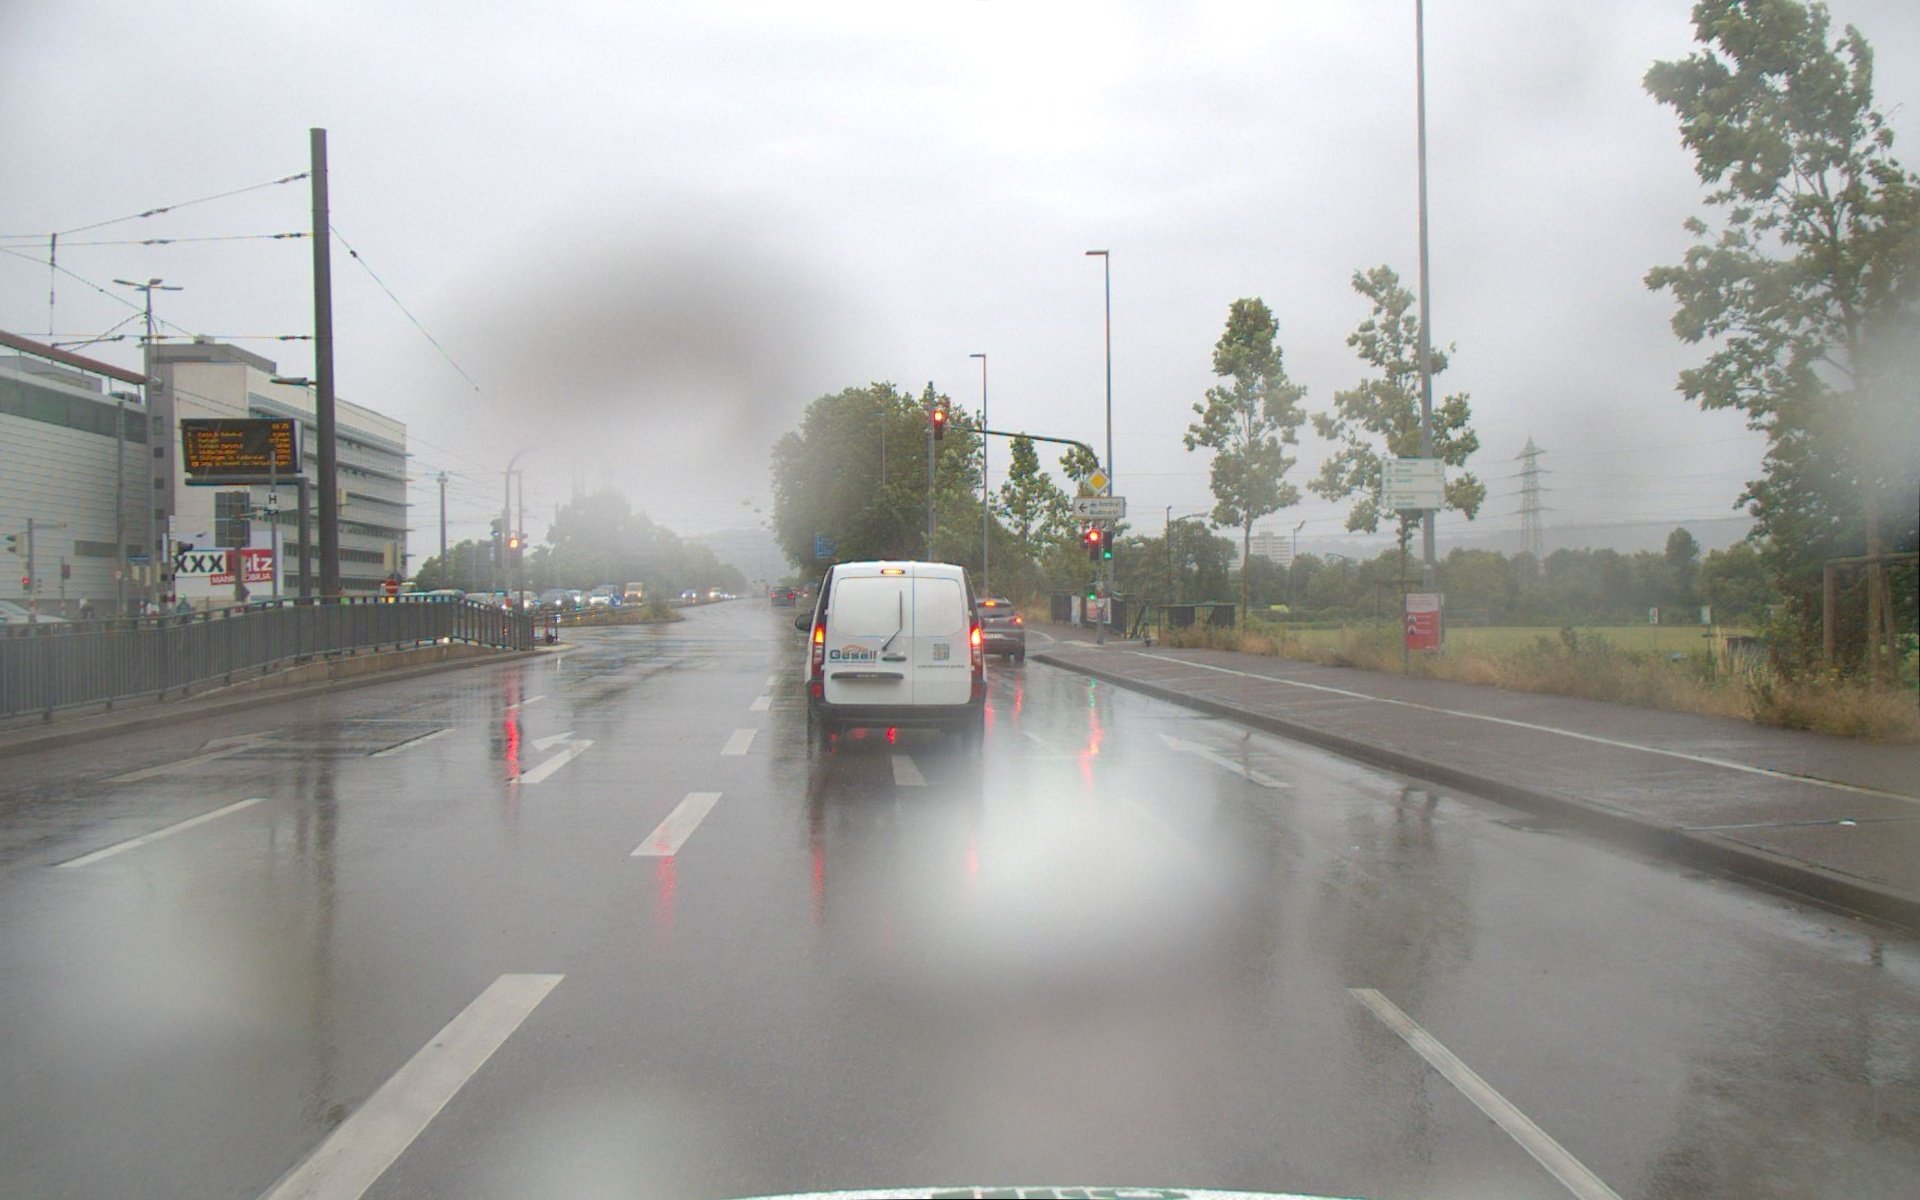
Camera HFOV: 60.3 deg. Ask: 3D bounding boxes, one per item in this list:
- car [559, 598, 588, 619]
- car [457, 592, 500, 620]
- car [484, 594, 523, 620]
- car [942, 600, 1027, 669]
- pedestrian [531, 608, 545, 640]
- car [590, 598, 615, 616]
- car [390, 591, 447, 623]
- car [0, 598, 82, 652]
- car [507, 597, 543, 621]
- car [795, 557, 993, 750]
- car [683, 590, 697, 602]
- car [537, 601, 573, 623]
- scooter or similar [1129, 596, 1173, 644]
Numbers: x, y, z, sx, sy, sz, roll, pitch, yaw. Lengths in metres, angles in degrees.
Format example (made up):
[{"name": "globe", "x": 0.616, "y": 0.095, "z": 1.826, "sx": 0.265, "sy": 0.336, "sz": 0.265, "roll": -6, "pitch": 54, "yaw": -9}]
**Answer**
[{"name": "car", "x": -28.997, "y": 0.657, "z": 124.181, "sx": 1.529, "sy": 1.451, "sz": 3.565, "roll": 2, "pitch": -1, "yaw": -4}, {"name": "car", "x": -27.010, "y": 0.339, "z": 92.787, "sx": 1.529, "sy": 1.451, "sz": 3.565, "roll": 2, "pitch": -1, "yaw": -4}, {"name": "car", "x": -27.551, "y": 0.440, "z": 99.841, "sx": 1.529, "sy": 1.451, "sz": 3.565, "roll": 2, "pitch": -1, "yaw": -4}, {"name": "car", "x": 0.538, "y": 0.799, "z": 39.593, "sx": 1.651, "sy": 1.534, "sz": 3.916, "roll": 1, "pitch": 0, "yaw": -5}, {"name": "pedestrian", "x": -12.487, "y": 0.710, "z": 48.949, "sx": 0.309, "sy": 0.913, "sz": 0.380, "roll": 2, "pitch": 0, "yaw": -6}, {"name": "car", "x": -30.589, "y": 0.633, "z": 141.498, "sx": 1.529, "sy": 1.451, "sz": 3.565, "roll": 2, "pitch": -1, "yaw": -4}, {"name": "car", "x": -26.068, "y": 0.357, "z": 79.690, "sx": 1.677, "sy": 1.451, "sz": 3.805, "roll": 2, "pitch": -1, "yaw": -4}, {"name": "car", "x": -31.641, "y": 0.800, "z": 54.416, "sx": 4.369, "sy": 1.691, "sz": 1.949, "roll": 2, "pitch": -2, "yaw": -10}, {"name": "car", "x": -27.942, "y": 0.589, "z": 106.311, "sx": 1.529, "sy": 1.451, "sz": 3.565, "roll": 2, "pitch": -1, "yaw": -4}, {"name": "car", "x": -0.809, "y": 0.471, "z": 17.379, "sx": 1.721, "sy": 1.781, "sz": 4.162, "roll": 0, "pitch": 1, "yaw": -7}, {"name": "car", "x": -36.838, "y": -0.522, "z": 225.460, "sx": 1.529, "sy": 1.451, "sz": 3.565, "roll": 2, "pitch": -1, "yaw": -4}, {"name": "car", "x": -27.806, "y": 0.822, "z": 113.645, "sx": 1.677, "sy": 1.451, "sz": 3.805, "roll": 2, "pitch": -1, "yaw": -4}, {"name": "scooter or similar", "x": 5.122, "y": 0.515, "z": 44.516, "sx": 0.676, "sy": 1.232, "sz": 3.018, "roll": -1, "pitch": 0, "yaw": -3}]
